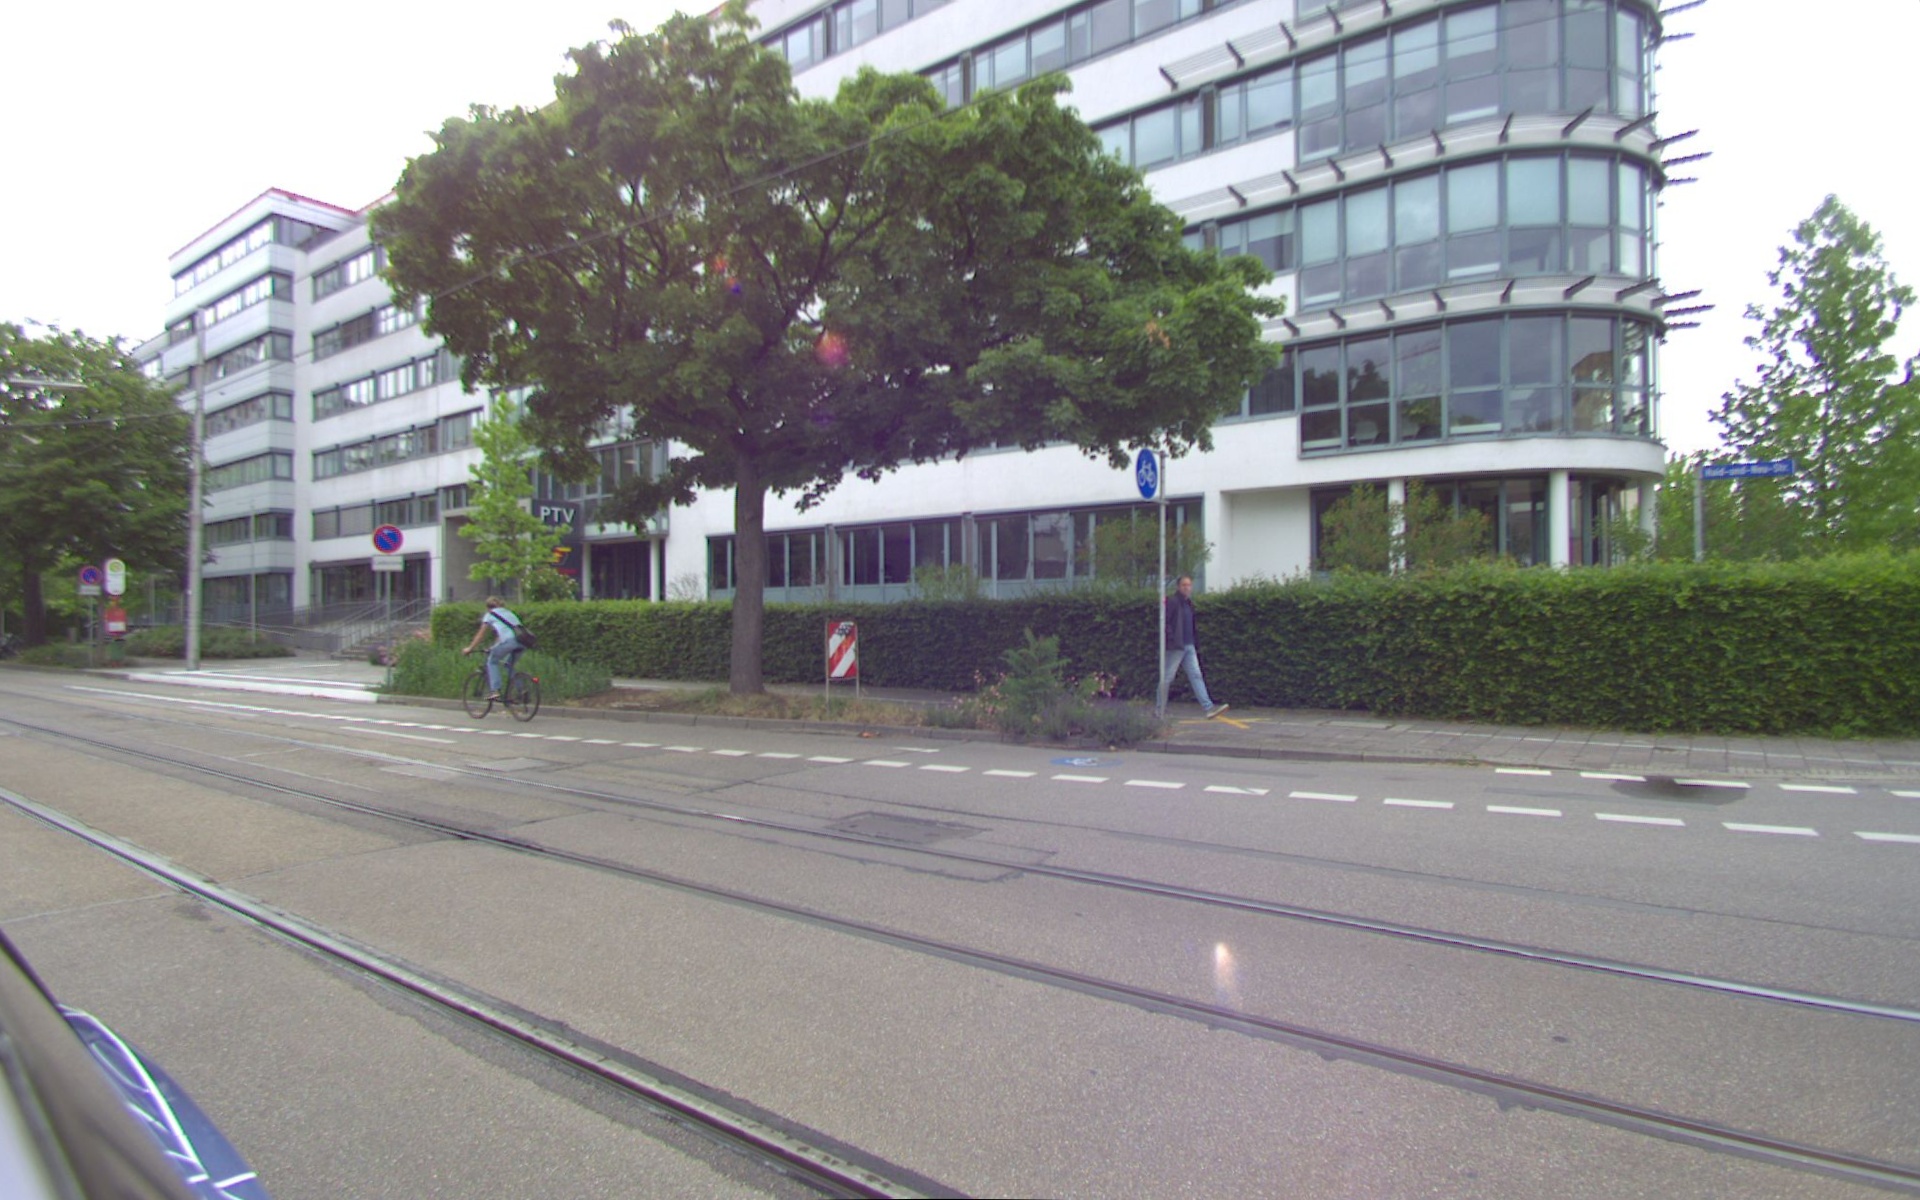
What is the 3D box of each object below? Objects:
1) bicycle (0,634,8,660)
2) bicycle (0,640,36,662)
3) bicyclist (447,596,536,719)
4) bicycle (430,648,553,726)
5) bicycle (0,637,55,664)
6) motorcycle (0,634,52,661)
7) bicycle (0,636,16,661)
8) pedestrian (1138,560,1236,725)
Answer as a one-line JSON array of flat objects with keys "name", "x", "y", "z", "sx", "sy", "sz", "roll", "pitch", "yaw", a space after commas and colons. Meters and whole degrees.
[{"name": "bicycle", "x": -44.635, "y": 2.148, "z": 46.045, "sx": 0.632, "sy": 1.195, "sz": 1.845, "roll": -1, "pitch": -3, "yaw": 41}, {"name": "bicycle", "x": -41.611, "y": 2.215, "z": 44.165, "sx": 0.630, "sy": 0.906, "sz": 1.793, "roll": 0, "pitch": -2, "yaw": 30}, {"name": "bicyclist", "x": -6.973, "y": 0.847, "z": 15.065, "sx": 0.974, "sy": 1.762, "sz": 0.731, "roll": -1, "pitch": -2, "yaw": 27}, {"name": "bicycle", "x": -6.976, "y": 1.264, "z": 15.050, "sx": 1.947, "sy": 1.082, "sz": 0.583, "roll": -1, "pitch": -2, "yaw": 27}, {"name": "bicycle", "x": -38.629, "y": 2.081, "z": 41.738, "sx": 0.738, "sy": 1.061, "sz": 1.816, "roll": -2, "pitch": -1, "yaw": 28}, {"name": "motorcycle", "x": -40.269, "y": 2.034, "z": 43.473, "sx": 0.730, "sy": 1.058, "sz": 1.776, "roll": -1, "pitch": 0, "yaw": 29}, {"name": "bicycle", "x": -43.665, "y": 2.177, "z": 45.406, "sx": 0.630, "sy": 1.108, "sz": 1.793, "roll": 0, "pitch": -2, "yaw": 30}, {"name": "pedestrian", "x": 2.928, "y": 0.524, "z": 13.060, "sx": 0.991, "sy": 2.029, "sz": 0.702, "roll": -1, "pitch": 0, "yaw": 44}]
